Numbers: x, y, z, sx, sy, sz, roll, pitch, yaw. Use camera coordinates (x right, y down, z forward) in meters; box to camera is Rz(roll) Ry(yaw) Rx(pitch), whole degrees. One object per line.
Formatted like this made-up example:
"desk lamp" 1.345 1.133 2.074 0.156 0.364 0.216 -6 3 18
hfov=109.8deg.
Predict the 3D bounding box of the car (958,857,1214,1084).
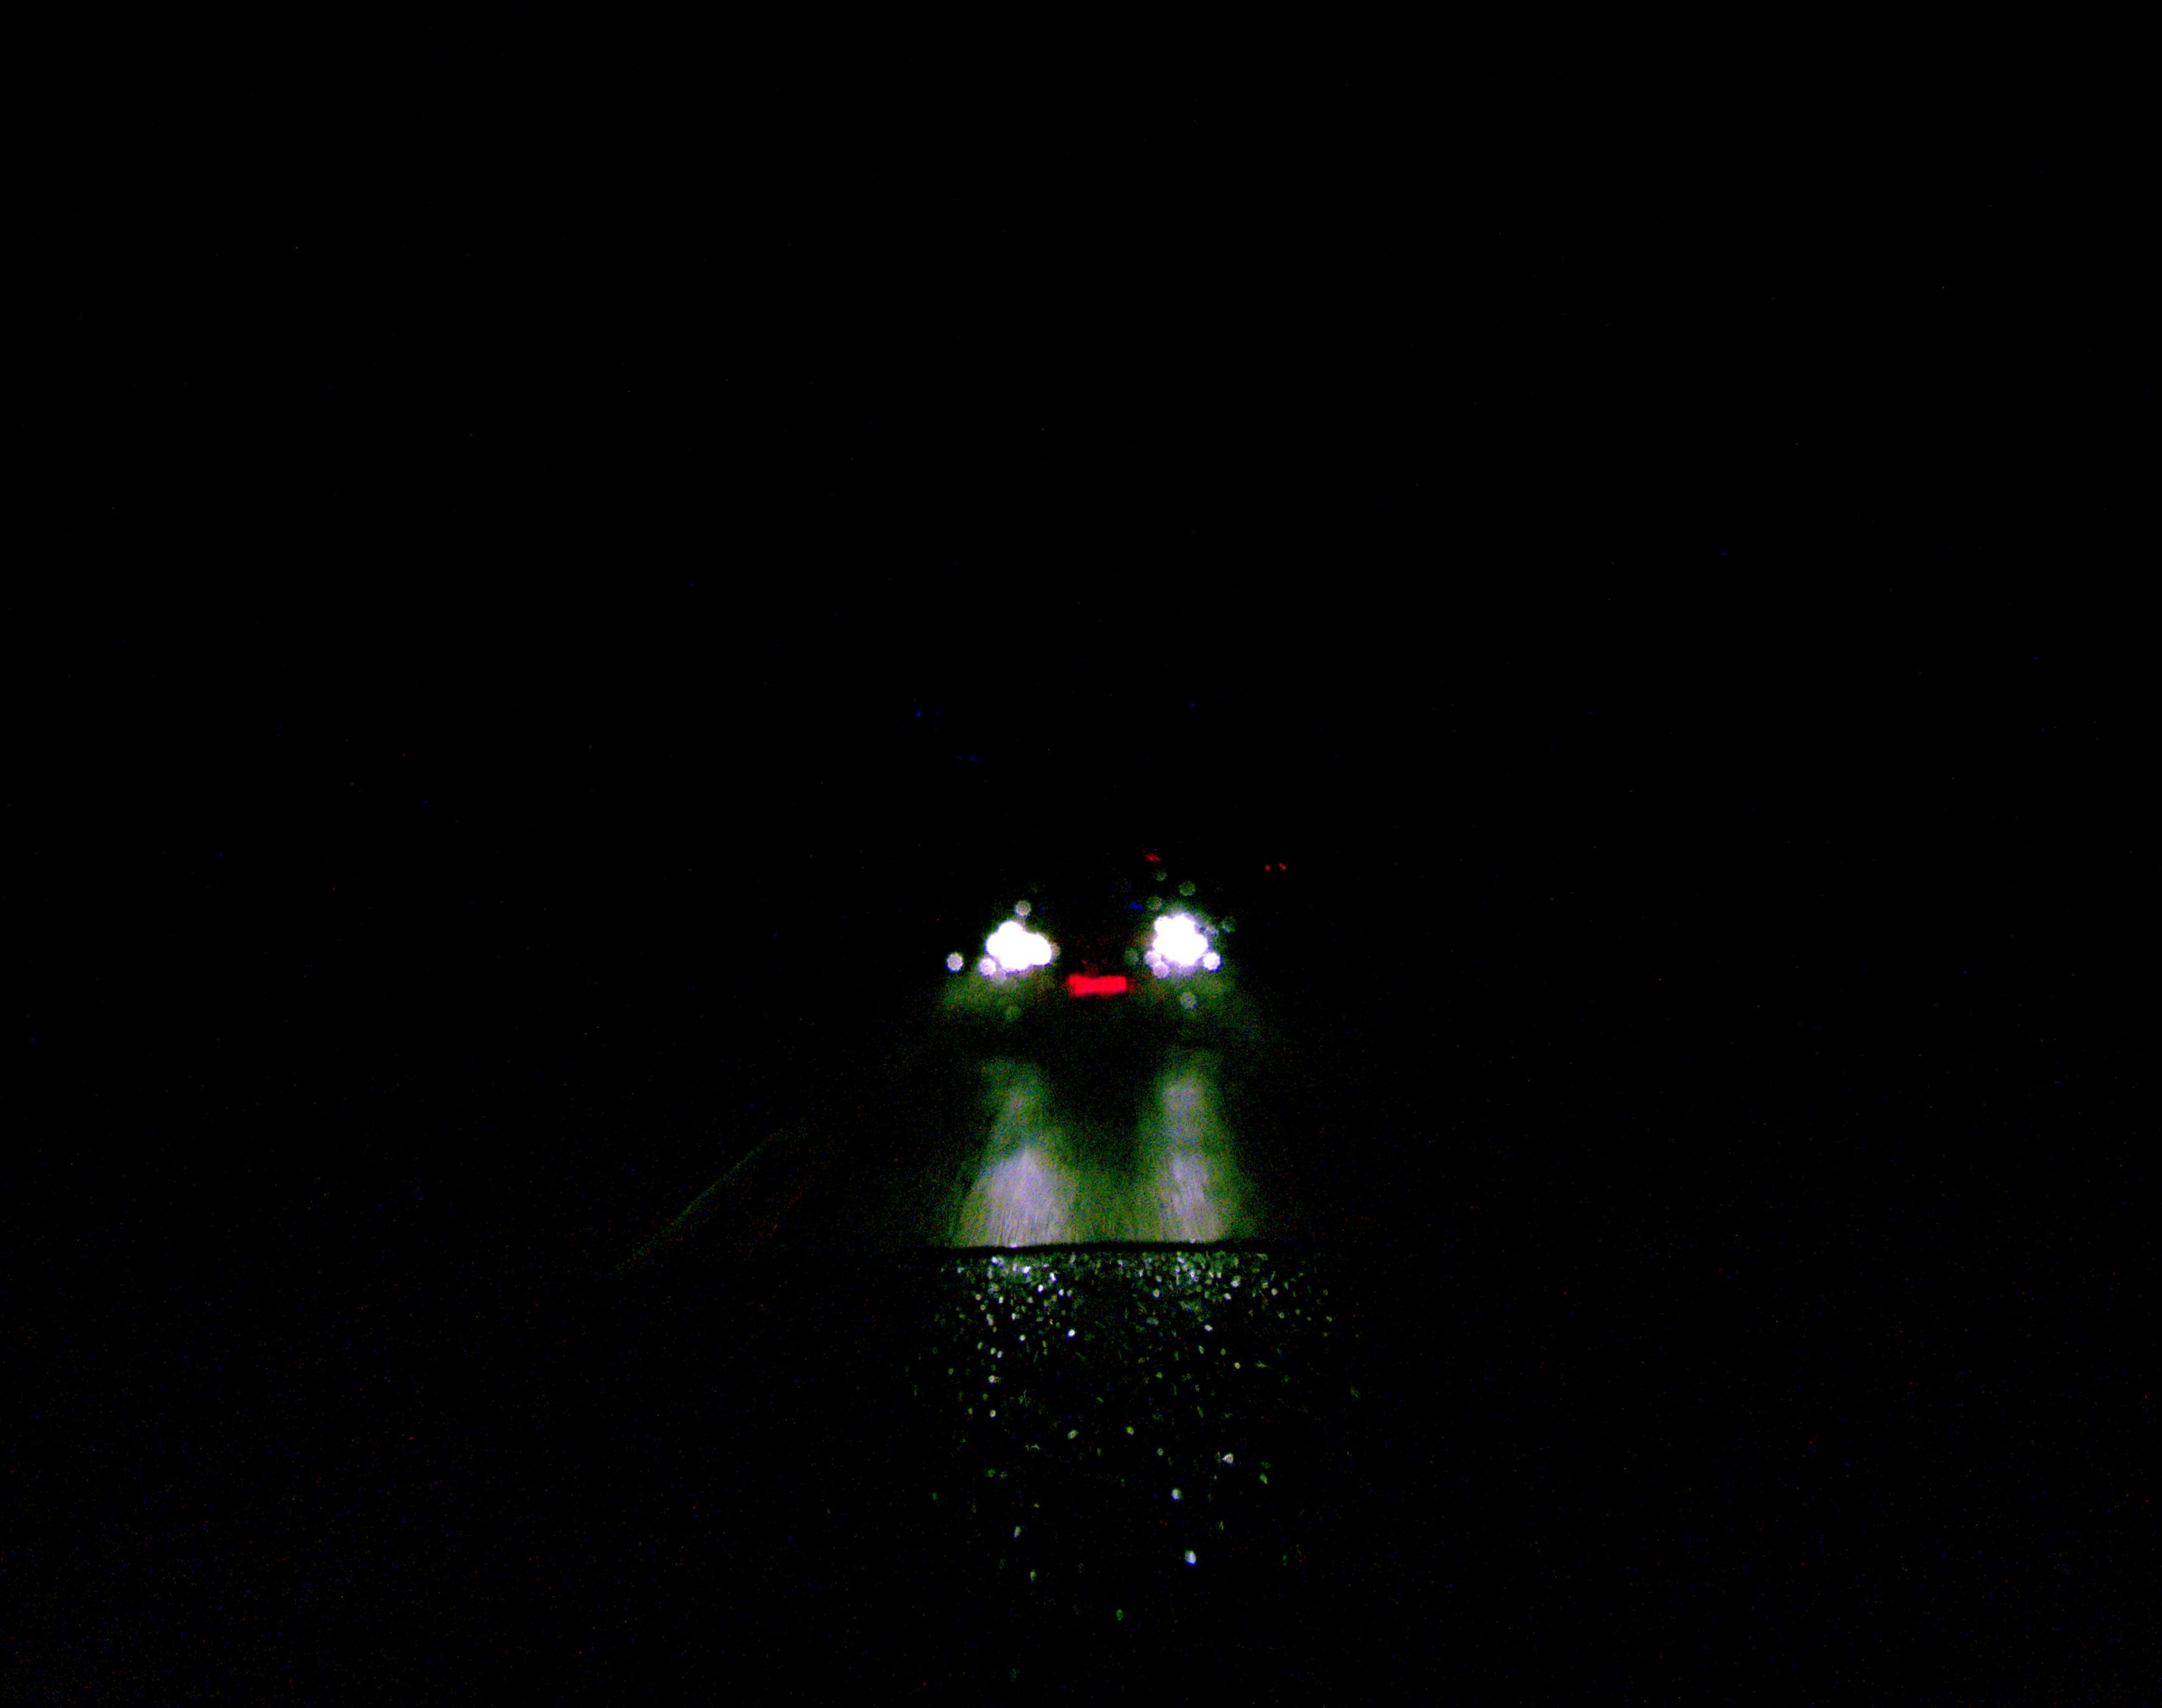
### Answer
"car" 0.138 0.902 7.986 1.862 1.601 4.420 -3 0 3

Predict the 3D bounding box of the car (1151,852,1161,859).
"car" 17.886 0.445 181.450 1.867 1.535 4.230 -2 -1 2
